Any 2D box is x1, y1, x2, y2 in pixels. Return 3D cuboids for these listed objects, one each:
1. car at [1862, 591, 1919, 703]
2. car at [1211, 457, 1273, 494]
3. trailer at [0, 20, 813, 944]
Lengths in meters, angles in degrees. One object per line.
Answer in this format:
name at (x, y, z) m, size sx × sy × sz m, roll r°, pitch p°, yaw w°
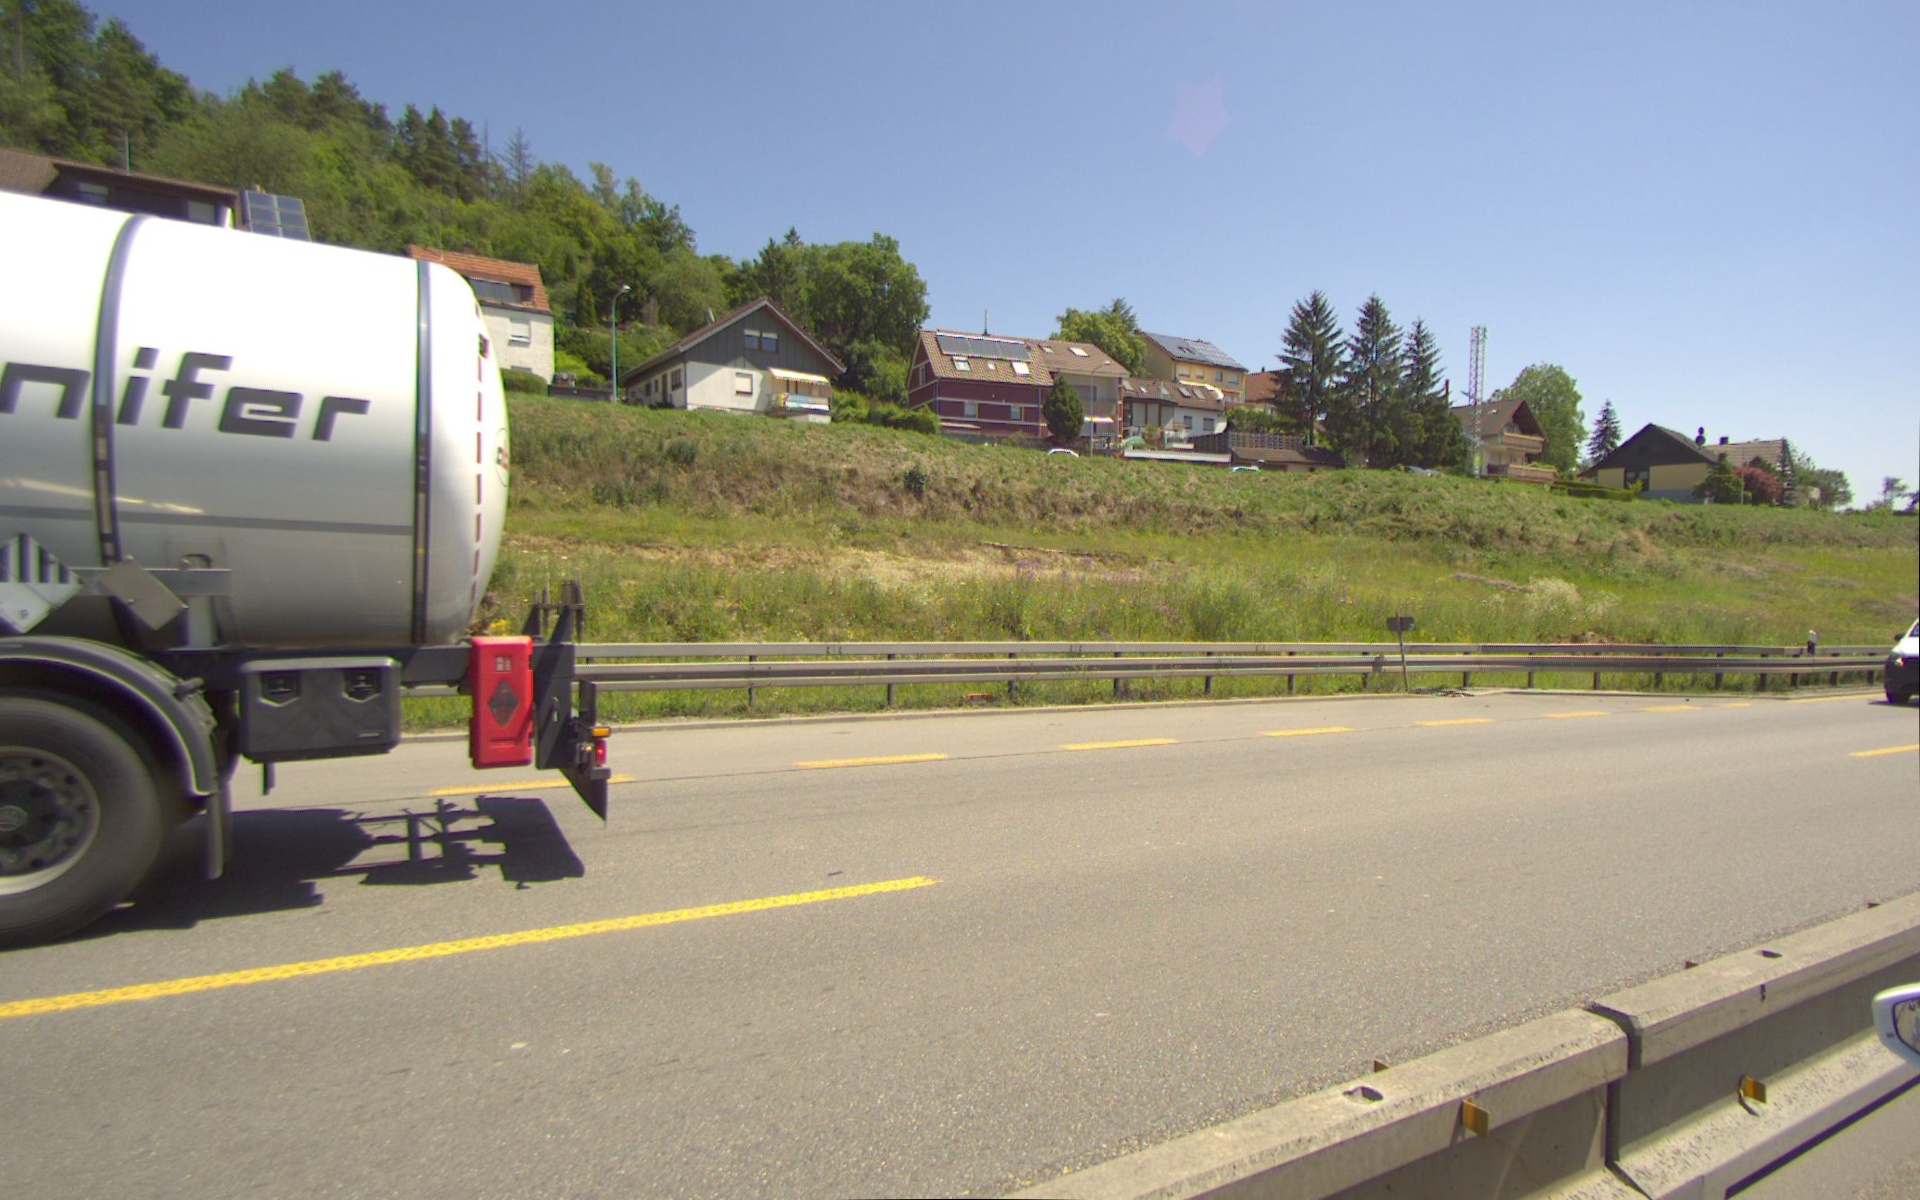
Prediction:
car at (19.424, 0.886, 18.985) m, size 5.279 × 1.997 × 1.984 m, roll 1°, pitch 0°, yaw -30°
car at (20.237, -8.912, 72.113) m, size 3.945 × 2.040 × 1.988 m, roll 3°, pitch 0°, yaw -25°
trailer at (-6.539, -0.514, 3.898) m, size 11.657 × 3.642 × 2.703 m, roll 1°, pitch 0°, yaw -31°
